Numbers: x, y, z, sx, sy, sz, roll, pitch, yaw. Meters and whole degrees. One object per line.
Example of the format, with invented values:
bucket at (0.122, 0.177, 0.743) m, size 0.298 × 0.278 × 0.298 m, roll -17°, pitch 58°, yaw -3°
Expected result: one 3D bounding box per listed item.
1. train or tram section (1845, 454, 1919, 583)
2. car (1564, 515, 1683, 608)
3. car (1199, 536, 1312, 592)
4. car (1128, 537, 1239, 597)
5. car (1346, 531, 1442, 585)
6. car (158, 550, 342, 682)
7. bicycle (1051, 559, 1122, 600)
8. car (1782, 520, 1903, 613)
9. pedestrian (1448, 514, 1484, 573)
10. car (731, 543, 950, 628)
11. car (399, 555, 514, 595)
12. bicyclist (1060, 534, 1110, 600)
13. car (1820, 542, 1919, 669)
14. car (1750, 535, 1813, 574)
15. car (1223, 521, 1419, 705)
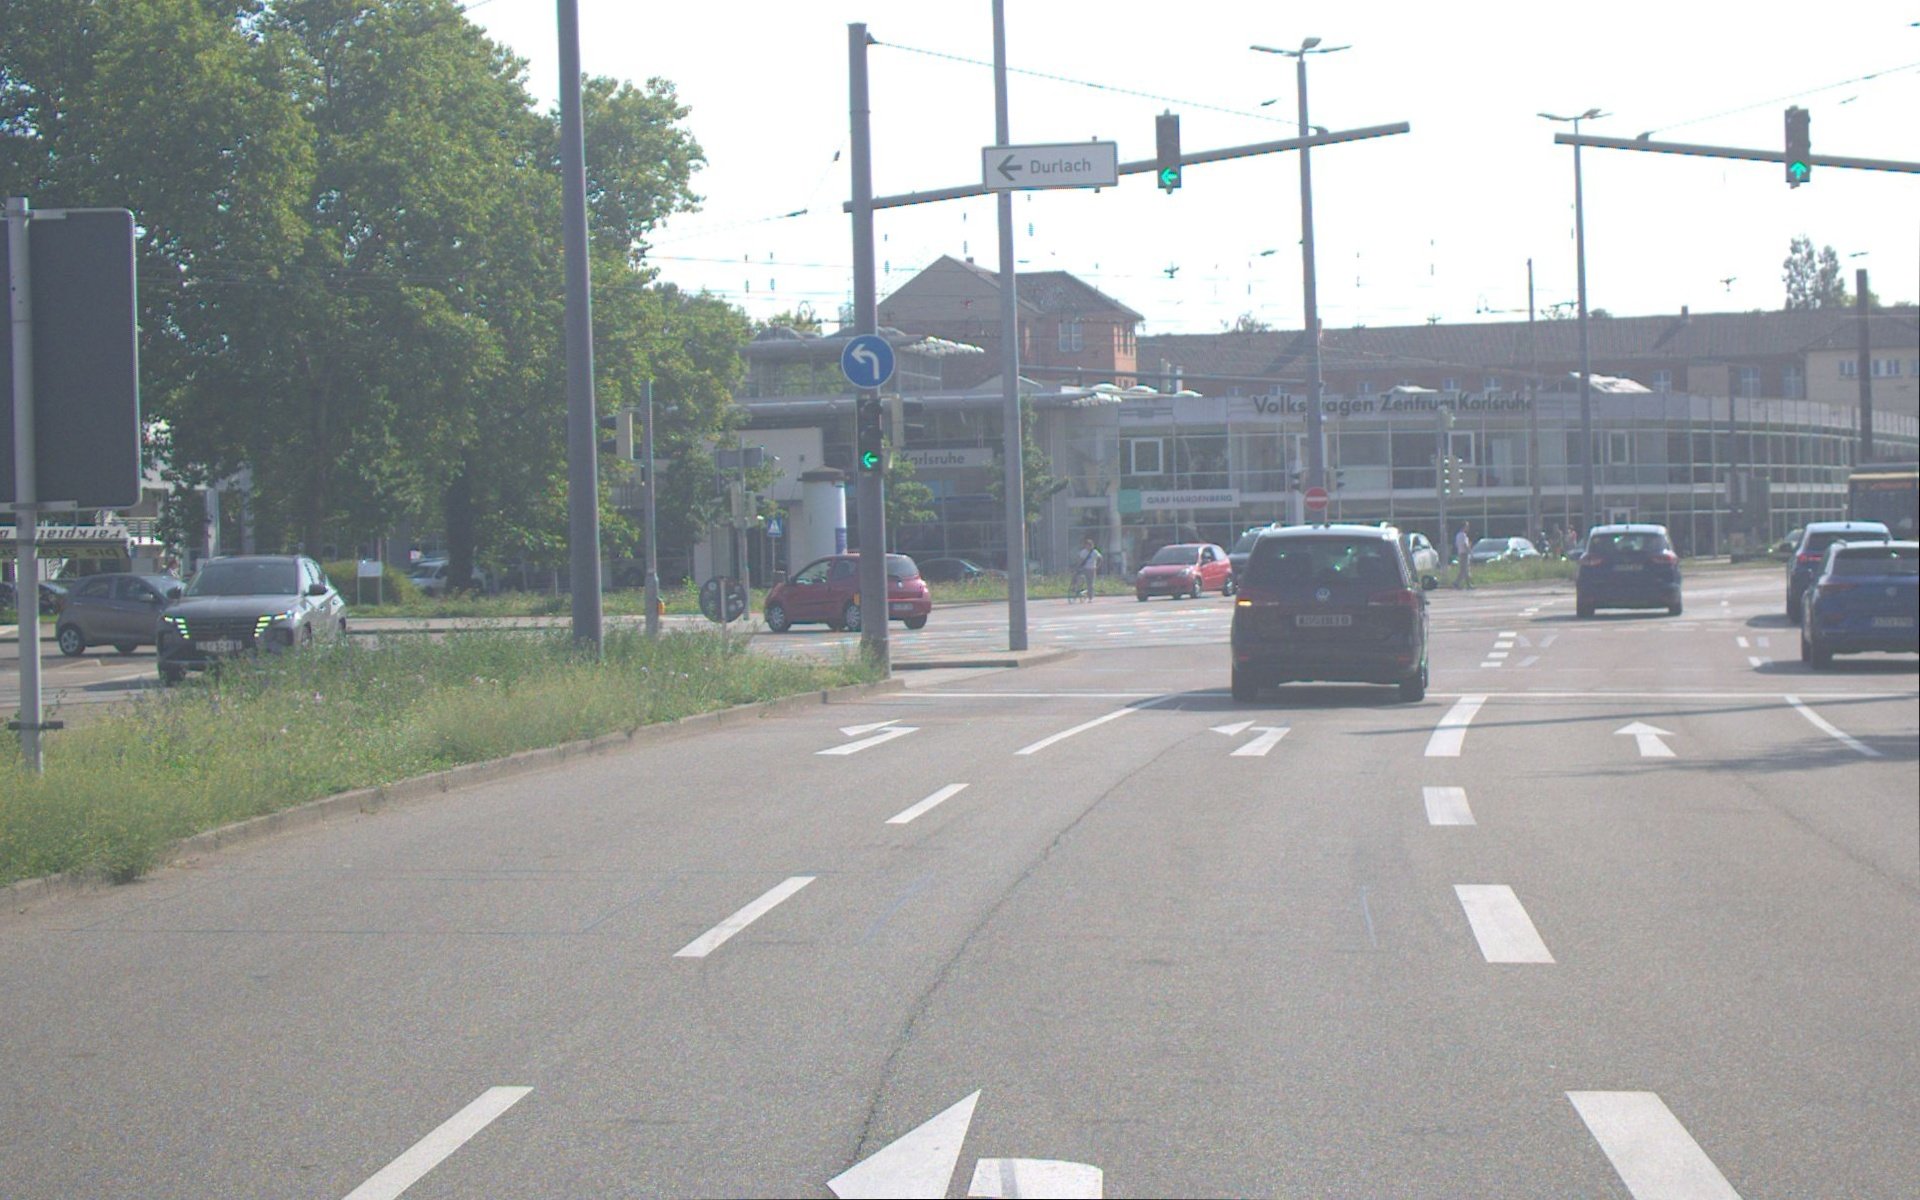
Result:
train or tram section at (29.115, -2.510, 104.157) m, size 2.658 × 3.686 × 10.576 m, roll -1°, pitch 1°, yaw 24°
car at (11.685, -0.701, 60.387) m, size 1.826 × 1.530 × 4.410 m, roll -1°, pitch 1°, yaw 13°
car at (8.535, -1.058, 99.046) m, size 1.963 × 1.470 × 3.995 m, roll -3°, pitch 0°, yaw 24°
car at (6.011, -0.903, 91.977) m, size 1.616 × 1.470 × 3.995 m, roll -3°, pitch 0°, yaw 24°
car at (12.631, -1.229, 99.851) m, size 1.616 × 1.470 × 3.995 m, roll -3°, pitch 0°, yaw 24°
car at (-9.291, 0.177, 45.285) m, size 1.693 × 1.612 × 4.462 m, roll -1°, pitch 1°, yaw -3°
bicycle at (3.432, -0.562, 92.801) m, size 0.959 × 1.053 × 2.605 m, roll -1°, pitch 1°, yaw 25°
car at (14.492, -0.573, 56.585) m, size 1.826 × 1.423 × 4.410 m, roll -1°, pitch 1°, yaw 14°
pedestrian at (13.171, -1.475, 89.485) m, size 0.778 × 1.498 × 0.709 m, roll -1°, pitch 1°, yaw 21°
car at (-2.319, -0.268, 65.591) m, size 1.826 × 1.530 × 4.410 m, roll -2°, pitch 1°, yaw -40°
car at (-20.048, -0.996, 136.965) m, size 1.703 × 1.517 × 4.504 m, roll 0°, pitch 1°, yaw 40°
bicyclist at (3.365, -0.889, 92.659) m, size 0.959 × 1.742 × 1.165 m, roll -1°, pitch 1°, yaw 25°
car at (11.565, 0.026, 42.278) m, size 1.827 × 1.423 × 4.409 m, roll -1°, pitch 1°, yaw 15°
car at (33.081, -1.842, 138.415) m, size 1.616 × 1.470 × 3.995 m, roll -3°, pitch 0°, yaw 25°
car at (3.635, 0.074, 34.325) m, size 1.826 × 1.708 × 4.411 m, roll 0°, pitch 1°, yaw 7°
